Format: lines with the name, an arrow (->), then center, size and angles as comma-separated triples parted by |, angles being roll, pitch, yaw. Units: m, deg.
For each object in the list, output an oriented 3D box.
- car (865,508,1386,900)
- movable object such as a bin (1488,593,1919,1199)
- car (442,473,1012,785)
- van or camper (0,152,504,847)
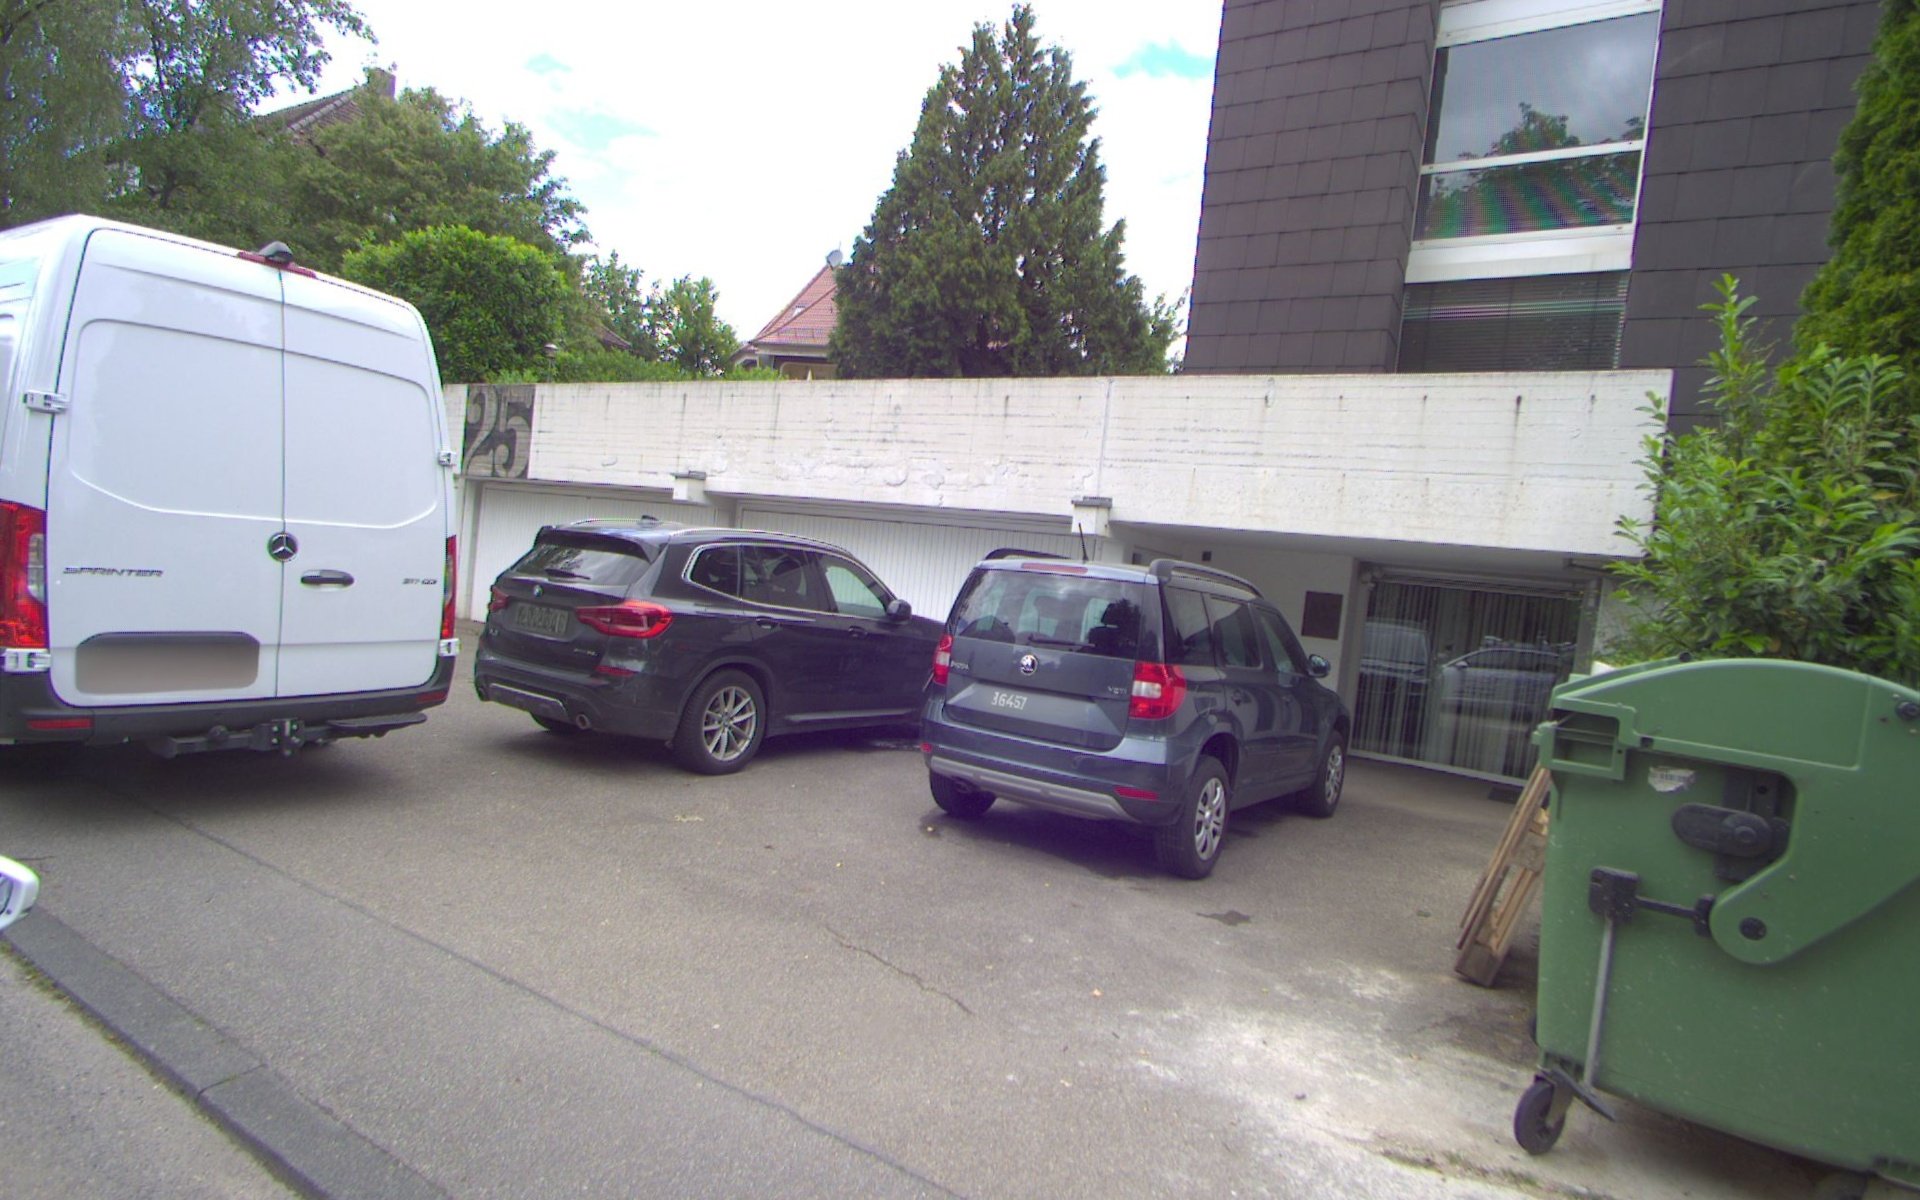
car -> 1.403, 0.563, 6.849 | 1.804, 1.772, 3.973 | 7, 1, 35
movable object such as a bin -> 2.210, 0.830, 2.852 | 1.016, 1.550, 1.034 | 7, 1, 33
car -> -1.504, 0.237, 8.139 | 1.710, 1.772, 4.419 | 7, 1, 33
van or camper -> -5.849, -0.620, 6.363 | 6.432, 2.653, 1.995 | 7, 1, 32
